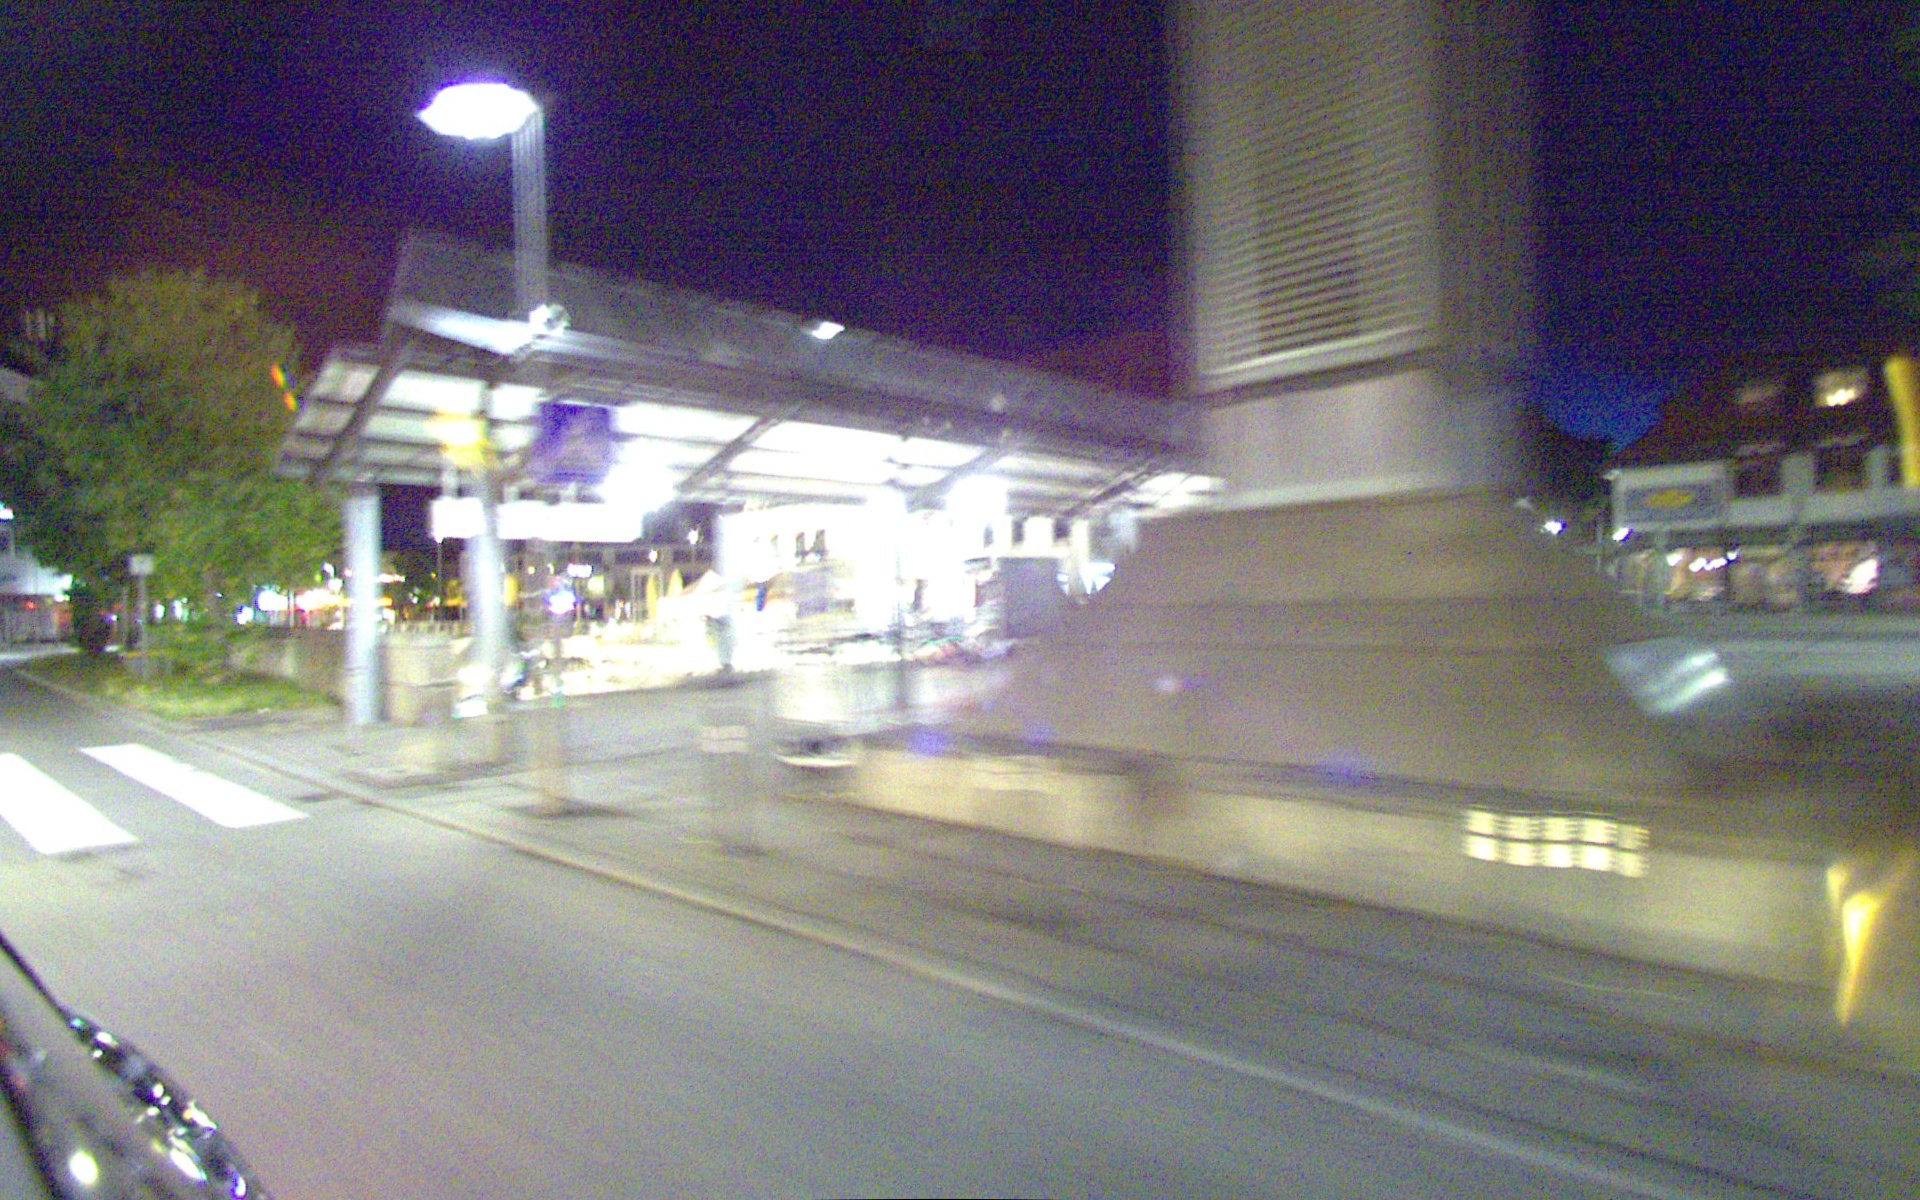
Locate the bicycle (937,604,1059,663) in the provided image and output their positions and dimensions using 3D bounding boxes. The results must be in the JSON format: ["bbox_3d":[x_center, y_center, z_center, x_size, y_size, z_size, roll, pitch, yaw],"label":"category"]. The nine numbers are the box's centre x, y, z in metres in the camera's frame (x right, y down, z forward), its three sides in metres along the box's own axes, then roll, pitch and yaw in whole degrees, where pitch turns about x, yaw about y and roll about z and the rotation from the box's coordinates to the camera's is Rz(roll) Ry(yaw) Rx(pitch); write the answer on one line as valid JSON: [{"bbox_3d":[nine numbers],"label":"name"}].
[{"bbox_3d":[0.745,0.652,20.574,2.481,1.095,0.850,0,1,40],"label":"bicycle"}]

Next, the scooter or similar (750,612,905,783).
[{"bbox_3d":[-1.107,0.759,8.249,1.448,1.273,0.365,-2,0,43],"label":"scooter or similar"}]

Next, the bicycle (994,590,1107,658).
[{"bbox_3d":[1.899,0.477,21.515,2.412,1.374,0.755,0,1,40],"label":"bicycle"}]

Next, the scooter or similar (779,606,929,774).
[{"bbox_3d":[-0.914,0.724,8.477,1.448,1.298,0.313,-2,0,42],"label":"scooter or similar"}]

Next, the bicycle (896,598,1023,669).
[{"bbox_3d":[-0.035,0.601,19.243,2.465,1.264,0.850,0,1,40],"label":"bicycle"}]

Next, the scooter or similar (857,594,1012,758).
[{"bbox_3d":[-0.250,0.662,9.239,1.351,1.390,0.589,-2,-1,42],"label":"scooter or similar"}]
